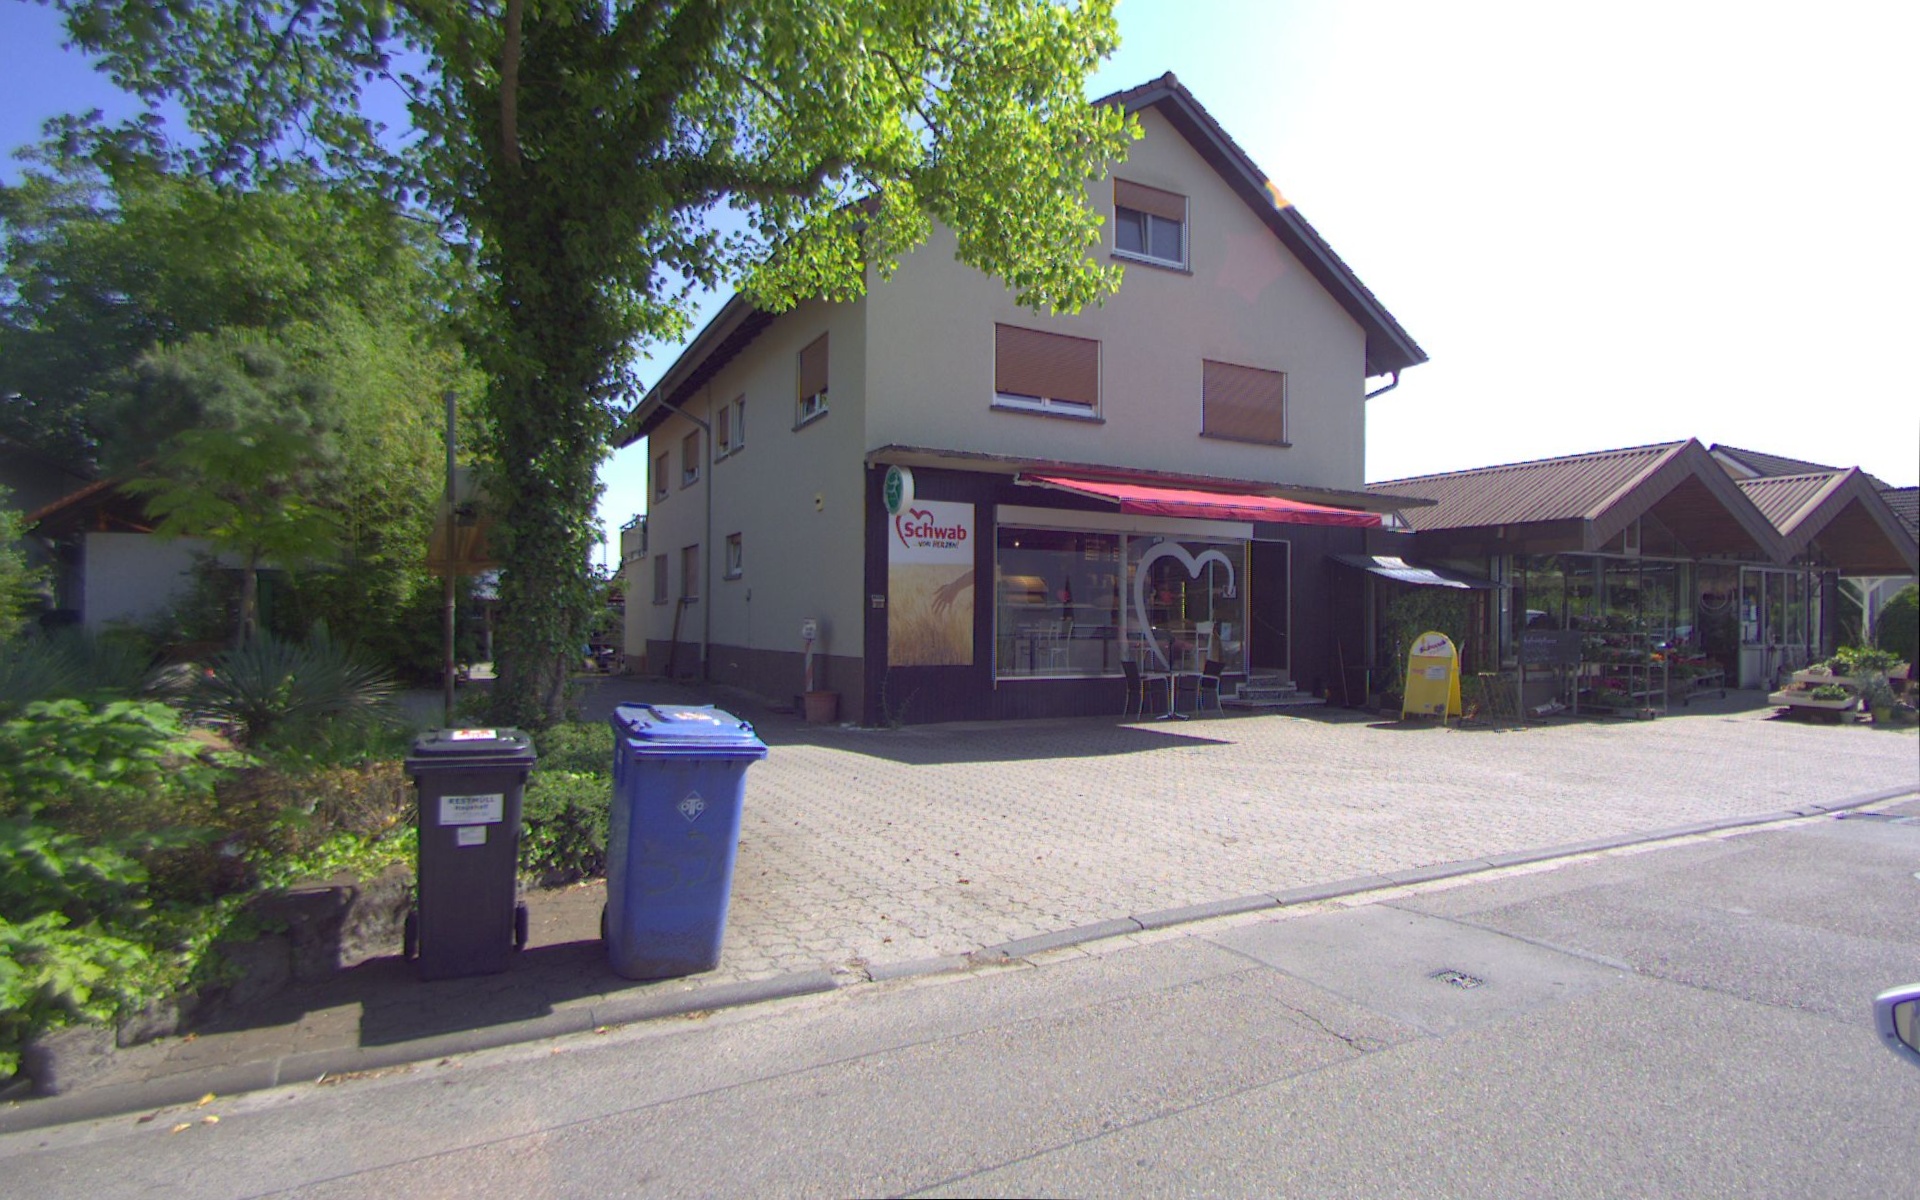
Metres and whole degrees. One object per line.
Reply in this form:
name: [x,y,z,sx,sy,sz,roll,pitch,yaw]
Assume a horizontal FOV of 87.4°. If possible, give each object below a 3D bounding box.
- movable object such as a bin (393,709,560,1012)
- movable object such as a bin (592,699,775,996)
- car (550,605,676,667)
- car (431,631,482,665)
movable object such as a bin: [-1.973,1.001,4.090,0.561,1.038,0.580,1,0,-29]
movable object such as a bin: [-1.222,1.011,4.379,0.605,1.068,0.728,1,0,-29]
car: [-14.325,1.484,41.512,4.595,2.441,2.178,1,-2,-30]
car: [-22.528,2.126,45.046,1.877,1.461,3.976,1,-2,-25]
